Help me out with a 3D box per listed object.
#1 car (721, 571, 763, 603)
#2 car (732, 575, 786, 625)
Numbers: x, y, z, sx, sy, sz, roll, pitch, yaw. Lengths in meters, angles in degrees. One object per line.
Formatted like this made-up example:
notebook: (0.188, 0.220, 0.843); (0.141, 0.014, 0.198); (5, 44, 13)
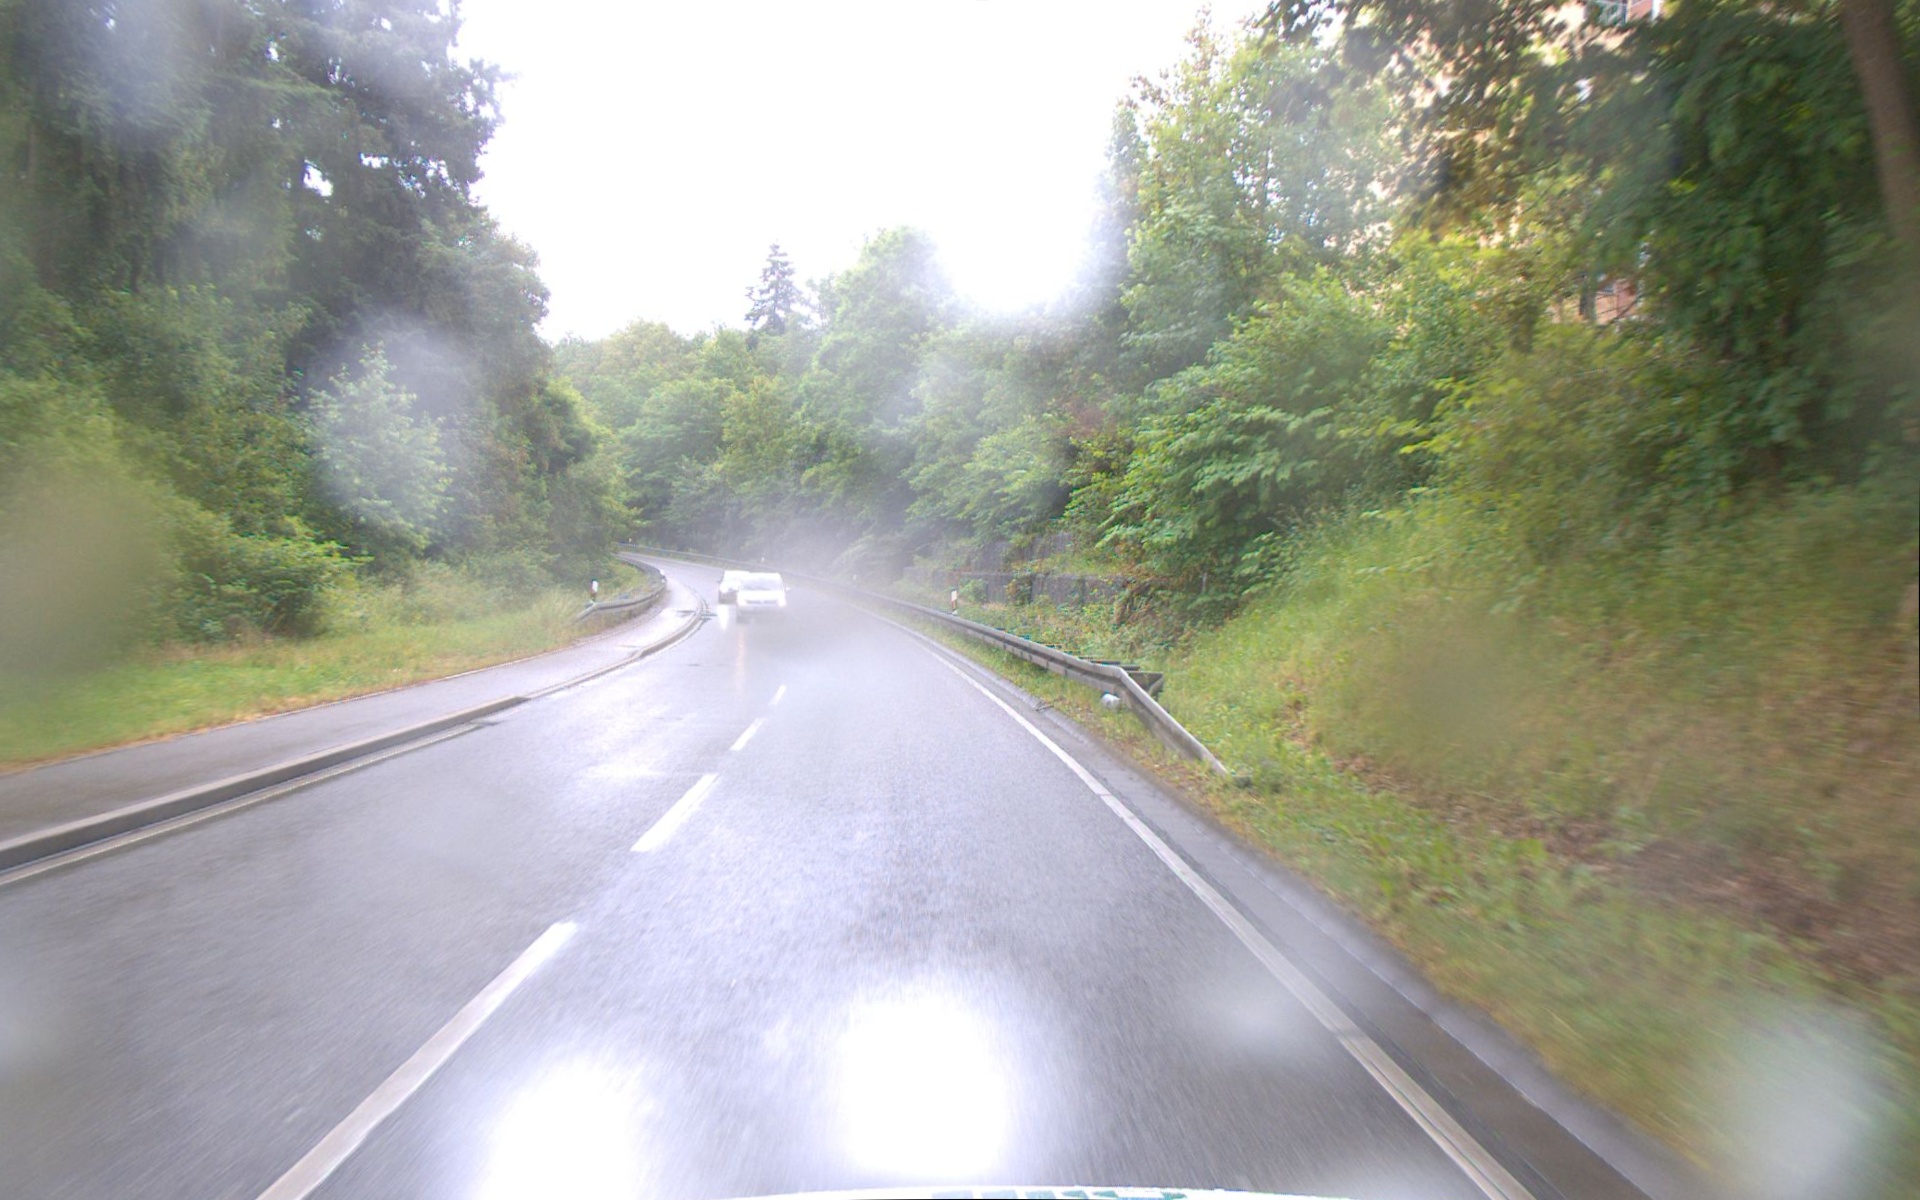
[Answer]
car: (-10.271, -0.600, 77.648); (1.781, 1.459, 3.990); (0, 0, -10)
car: (-6.980, -0.004, 57.626); (1.779, 1.676, 4.126); (0, 0, -6)
